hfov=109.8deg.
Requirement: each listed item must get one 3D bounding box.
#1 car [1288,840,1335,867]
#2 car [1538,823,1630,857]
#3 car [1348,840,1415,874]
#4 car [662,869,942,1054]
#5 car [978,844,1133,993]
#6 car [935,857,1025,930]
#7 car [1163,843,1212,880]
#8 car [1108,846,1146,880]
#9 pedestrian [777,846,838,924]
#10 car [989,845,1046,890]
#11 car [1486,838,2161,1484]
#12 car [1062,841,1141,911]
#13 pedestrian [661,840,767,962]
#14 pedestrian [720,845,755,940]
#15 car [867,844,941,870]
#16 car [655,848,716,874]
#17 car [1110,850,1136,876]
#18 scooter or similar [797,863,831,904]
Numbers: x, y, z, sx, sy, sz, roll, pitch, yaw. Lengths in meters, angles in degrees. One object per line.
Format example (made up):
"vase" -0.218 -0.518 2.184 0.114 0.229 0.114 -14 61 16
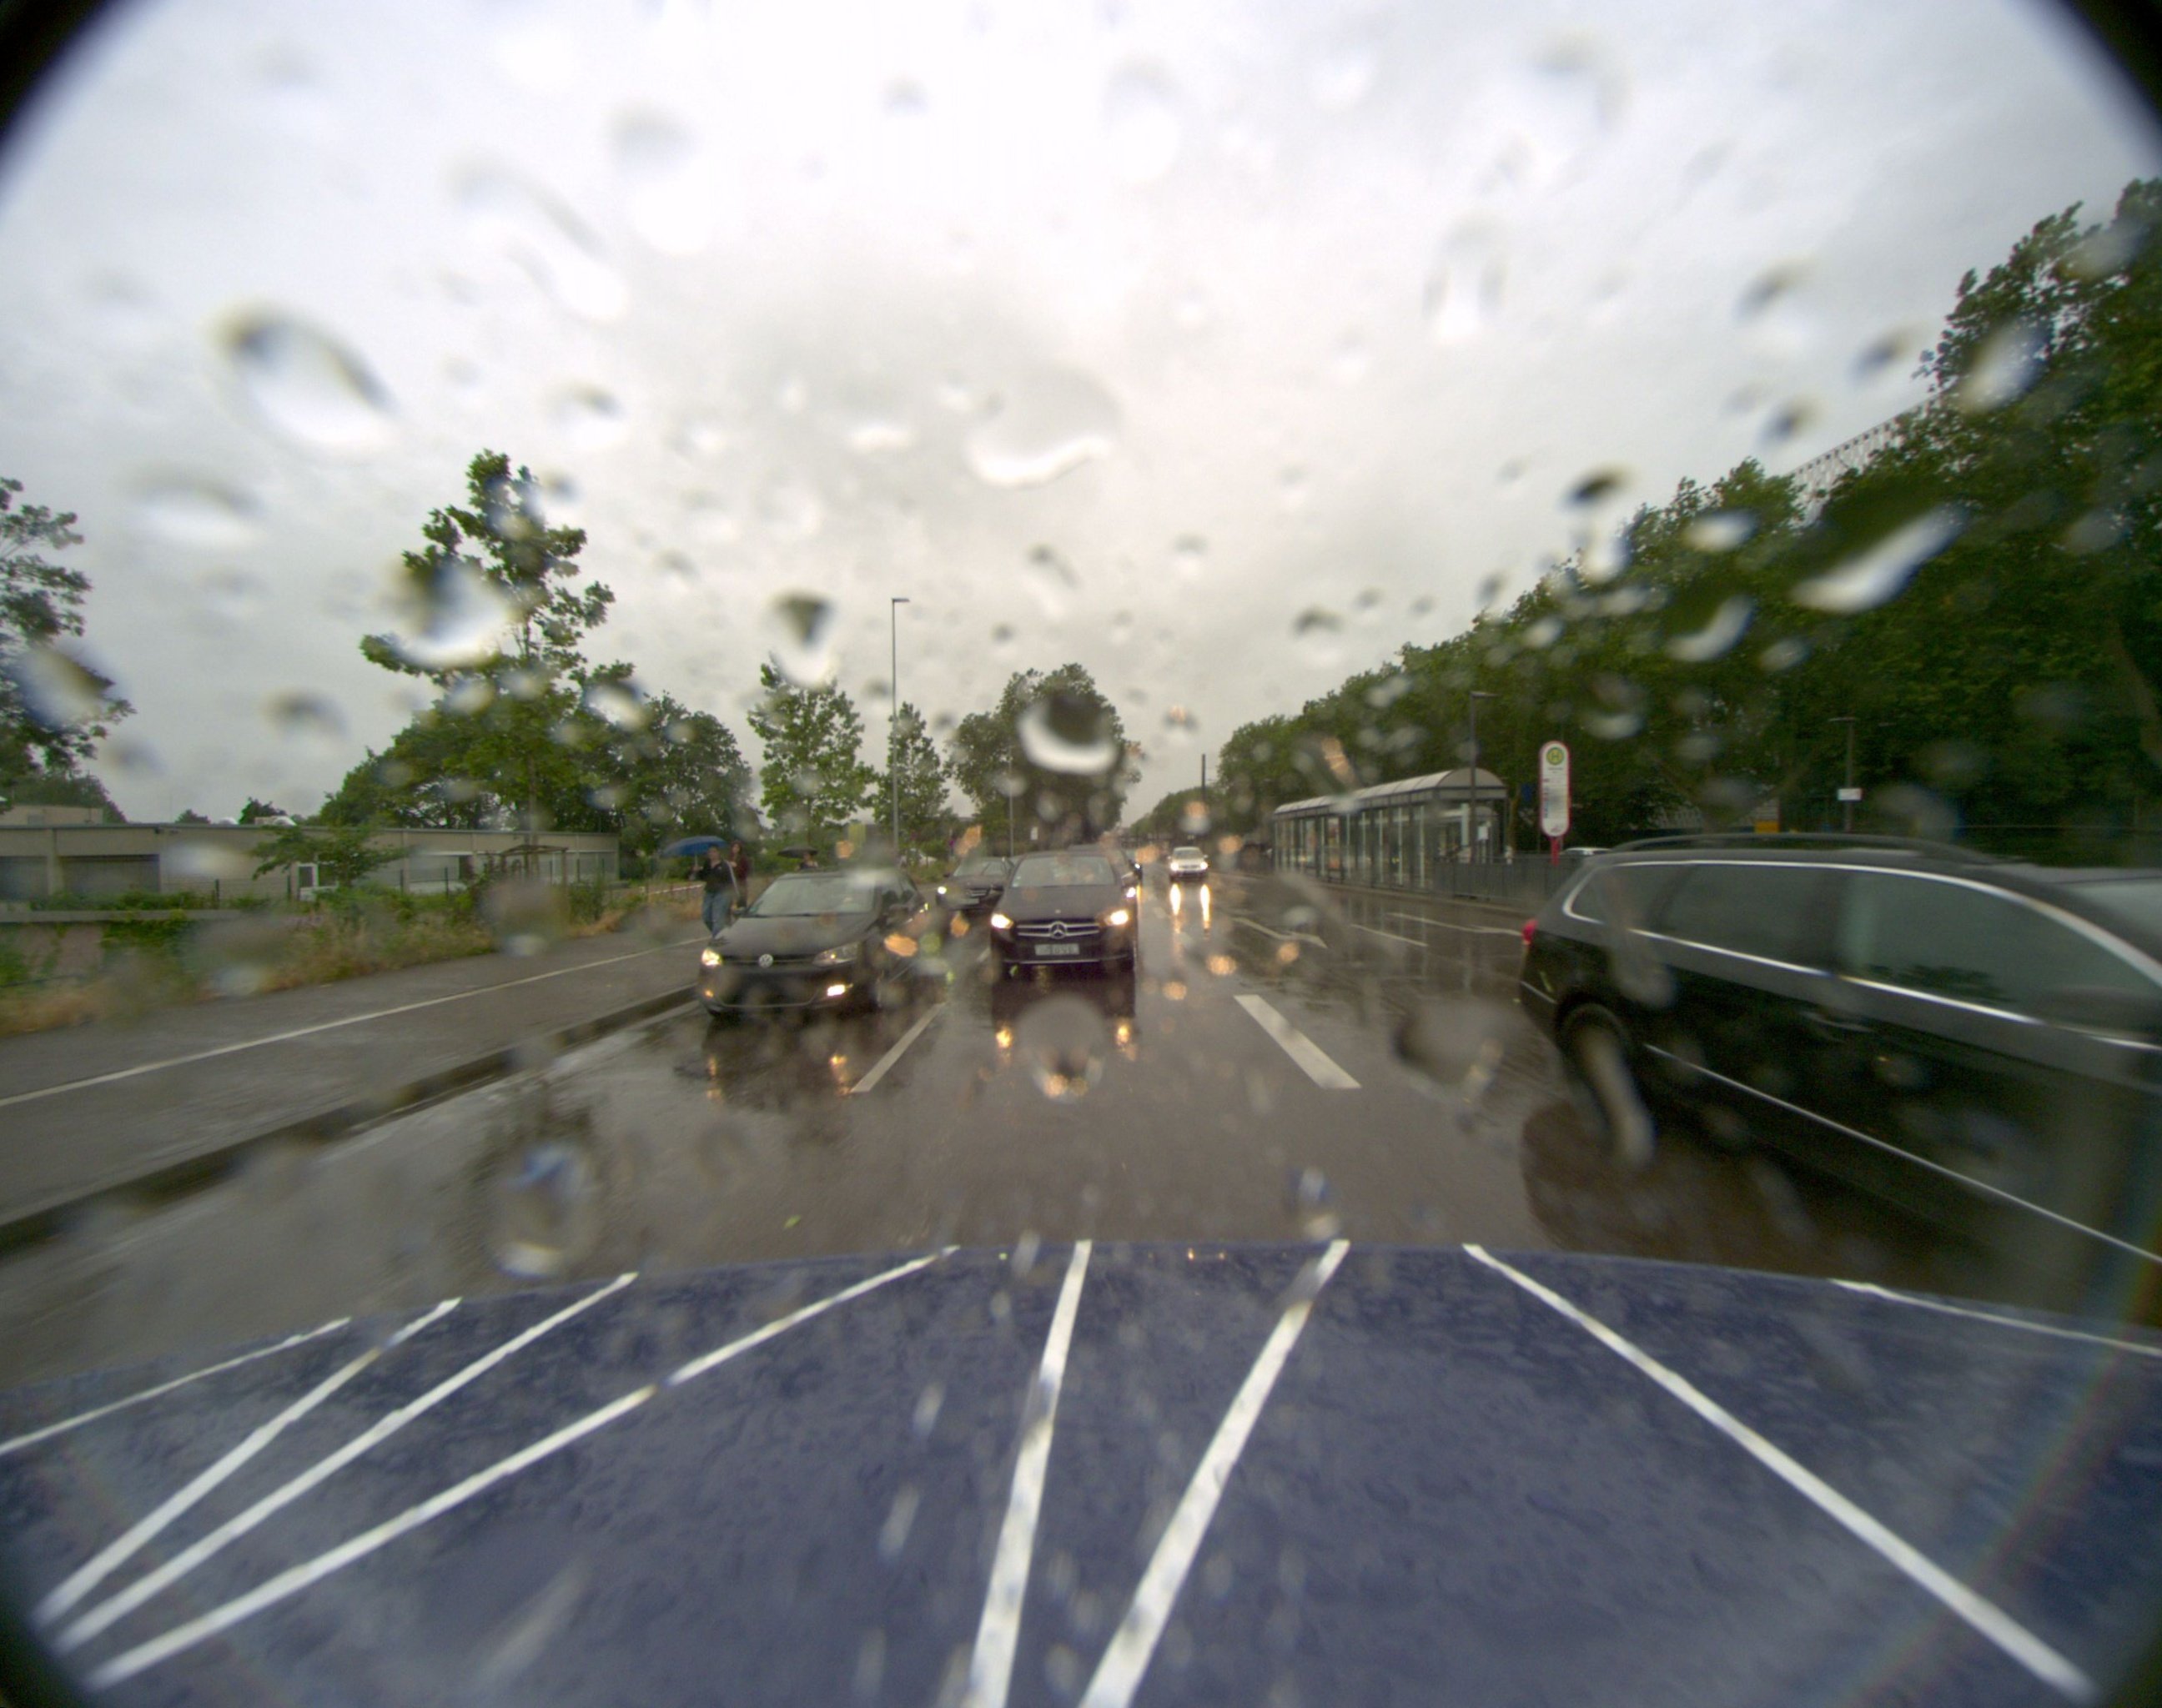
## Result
"car" 14.658 -0.070 48.545 1.794 1.597 3.999 -2 2 1
"car" 24.018 -0.696 36.462 1.703 1.484 3.874 -2 2 -3
"car" 13.023 0.090 33.116 1.527 1.353 3.615 -2 1 1
"car" -2.719 0.958 8.321 1.633 1.420 3.623 -2 1 1
"car" -0.225 0.703 10.647 1.689 1.578 4.162 -2 2 2
"car" -2.541 0.941 19.940 1.698 1.565 3.813 -2 2 2
"car" 5.084 0.309 36.618 1.794 1.597 3.999 -2 2 1
"car" 2.453 0.448 41.400 1.794 1.597 3.999 -2 2 1
"pedestrian" -6.146 0.672 17.115 1.025 1.699 0.891 1 2 0
"car" -2.287 0.426 28.275 1.703 1.461 4.121 -2 1 0
"car" 3.475 0.736 2.493 1.776 1.492 4.595 -2 1 -1
"car" 0.460 0.455 17.993 1.633 1.420 3.623 -2 1 1
"pedestrian" -5.473 0.668 11.402 1.082 1.746 0.969 0 2 0
"pedestrian" -6.089 0.667 13.487 0.401 1.653 0.440 1 2 0
"car" -12.754 0.204 54.950 4.759 1.640 1.999 -2 2 -1
"car" -33.061 0.591 63.589 3.996 2.002 2.000 -2 2 3
"car" 2.820 0.598 52.147 1.618 1.597 3.808 -2 2 2
"scooter or similar" -7.893 0.852 22.517 0.381 1.124 1.776 0 2 -1
